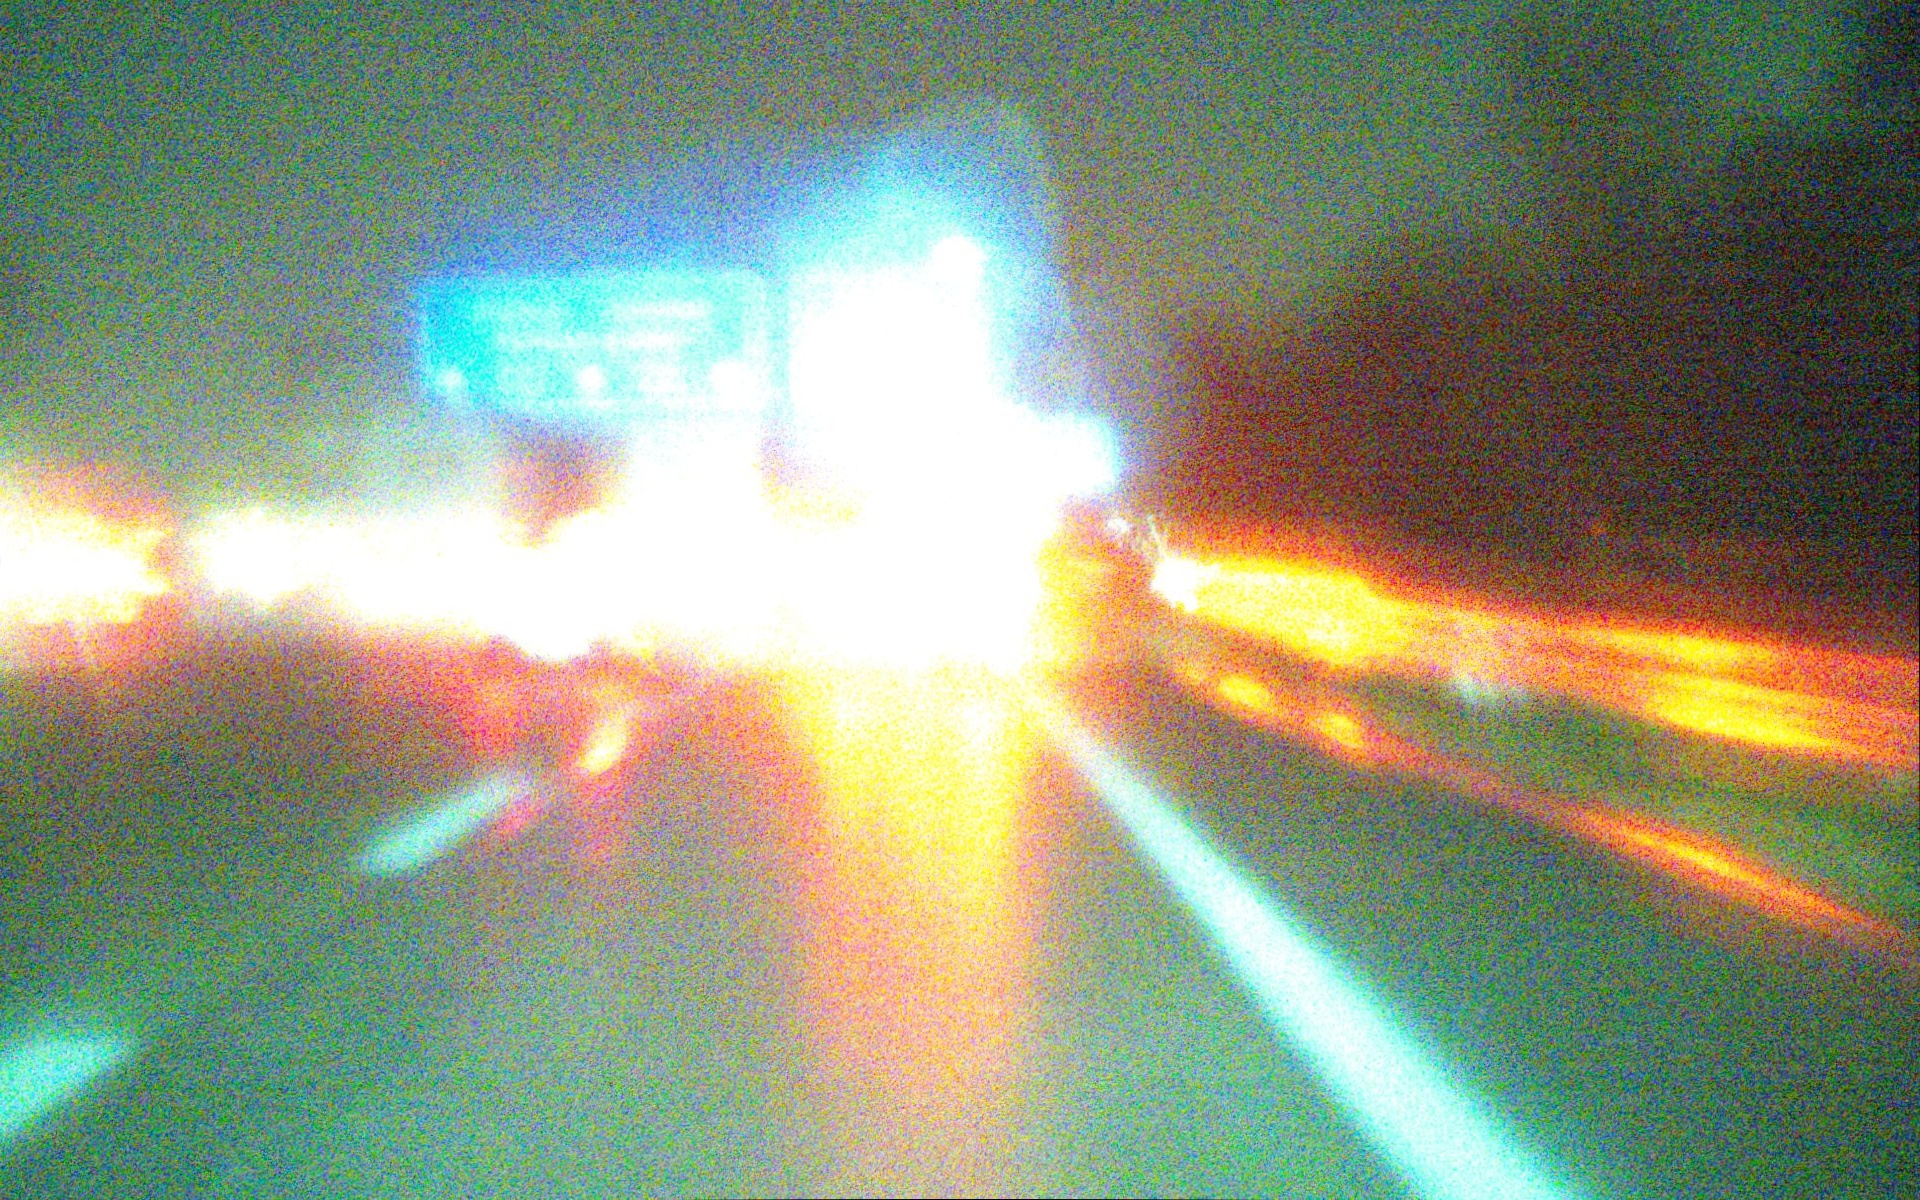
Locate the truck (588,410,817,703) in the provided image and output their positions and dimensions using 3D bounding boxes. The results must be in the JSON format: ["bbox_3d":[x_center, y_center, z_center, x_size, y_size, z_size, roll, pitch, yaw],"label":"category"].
[{"bbox_3d":[-5.242,-0.902,72.465,4.210,5.629,11.468,1,1,-2],"label":"truck"}]

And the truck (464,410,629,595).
[{"bbox_3d":[-13.251,-3.047,111.313,4.210,5.629,11.468,1,1,-2],"label":"truck"}]

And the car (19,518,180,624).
[{"bbox_3d":[-13.485,-0.461,54.077,1.993,1.590,4.001,1,1,-7],"label":"car"}]

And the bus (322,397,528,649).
[{"bbox_3d":[-10.315,-1.445,67.335,3.096,4.492,10.915,1,1,-4],"label":"bus"}]

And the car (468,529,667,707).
[{"bbox_3d":[-4.698,0.181,41.752,2.125,2.007,4.646,1,1,-3],"label":"car"}]

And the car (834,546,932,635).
[{"bbox_3d":[-1.863,-0.247,81.480,2.125,2.007,4.646,1,1,-3],"label":"car"}]

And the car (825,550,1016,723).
[{"bbox_3d":[-0.453,0.363,38.249,1.993,1.801,4.000,1,1,-1],"label":"car"}]
